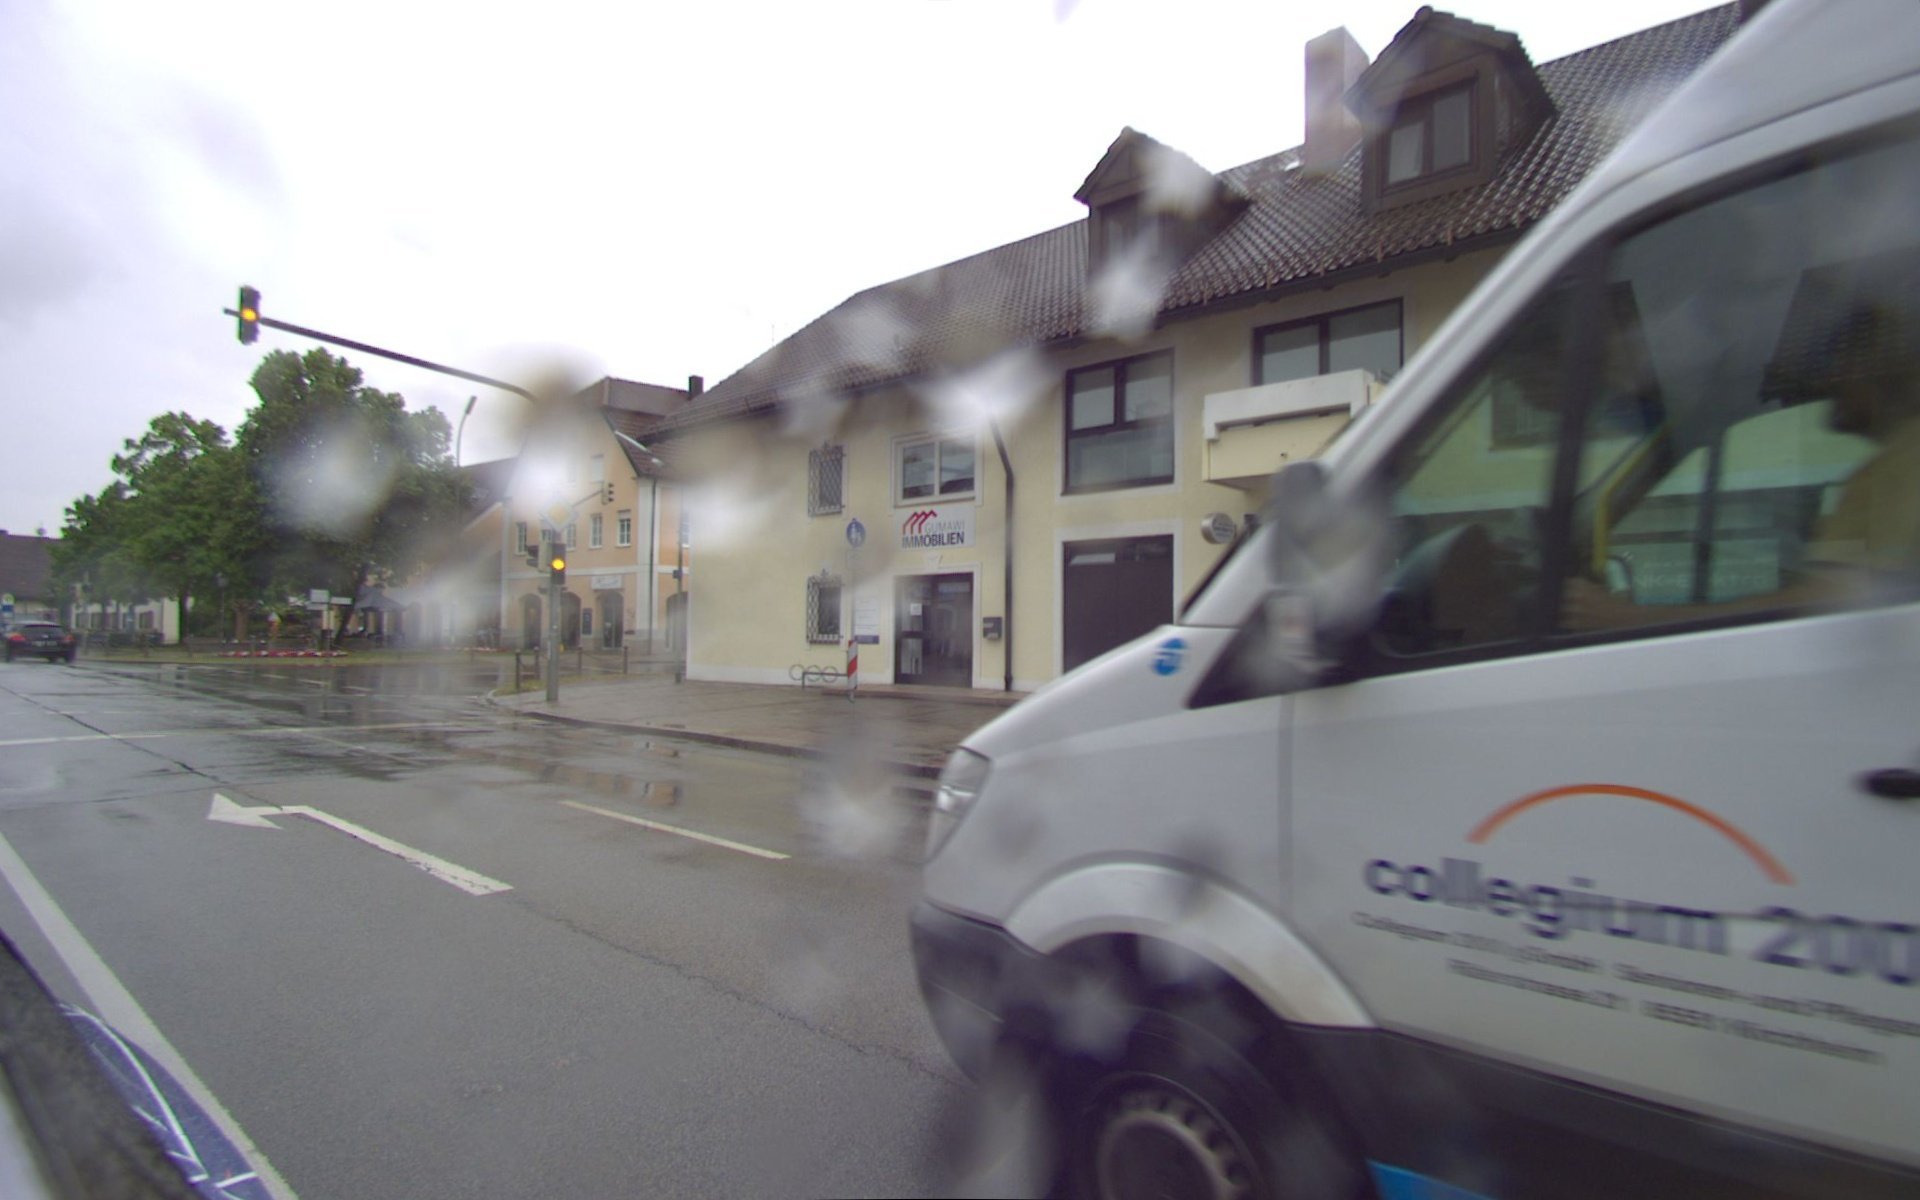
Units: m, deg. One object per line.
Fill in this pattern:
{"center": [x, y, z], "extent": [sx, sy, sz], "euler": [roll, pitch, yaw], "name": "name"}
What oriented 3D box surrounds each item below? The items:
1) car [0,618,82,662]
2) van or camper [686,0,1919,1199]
{"center": [-31.616, 1.356, 34.550], "extent": [3.882, 1.418, 1.975], "euler": [-1, -4, 42], "name": "car"}
{"center": [2.262, 0.054, 1.376], "extent": [6.269, 2.728, 2.071], "euler": [-1, -3, 43], "name": "van or camper"}
